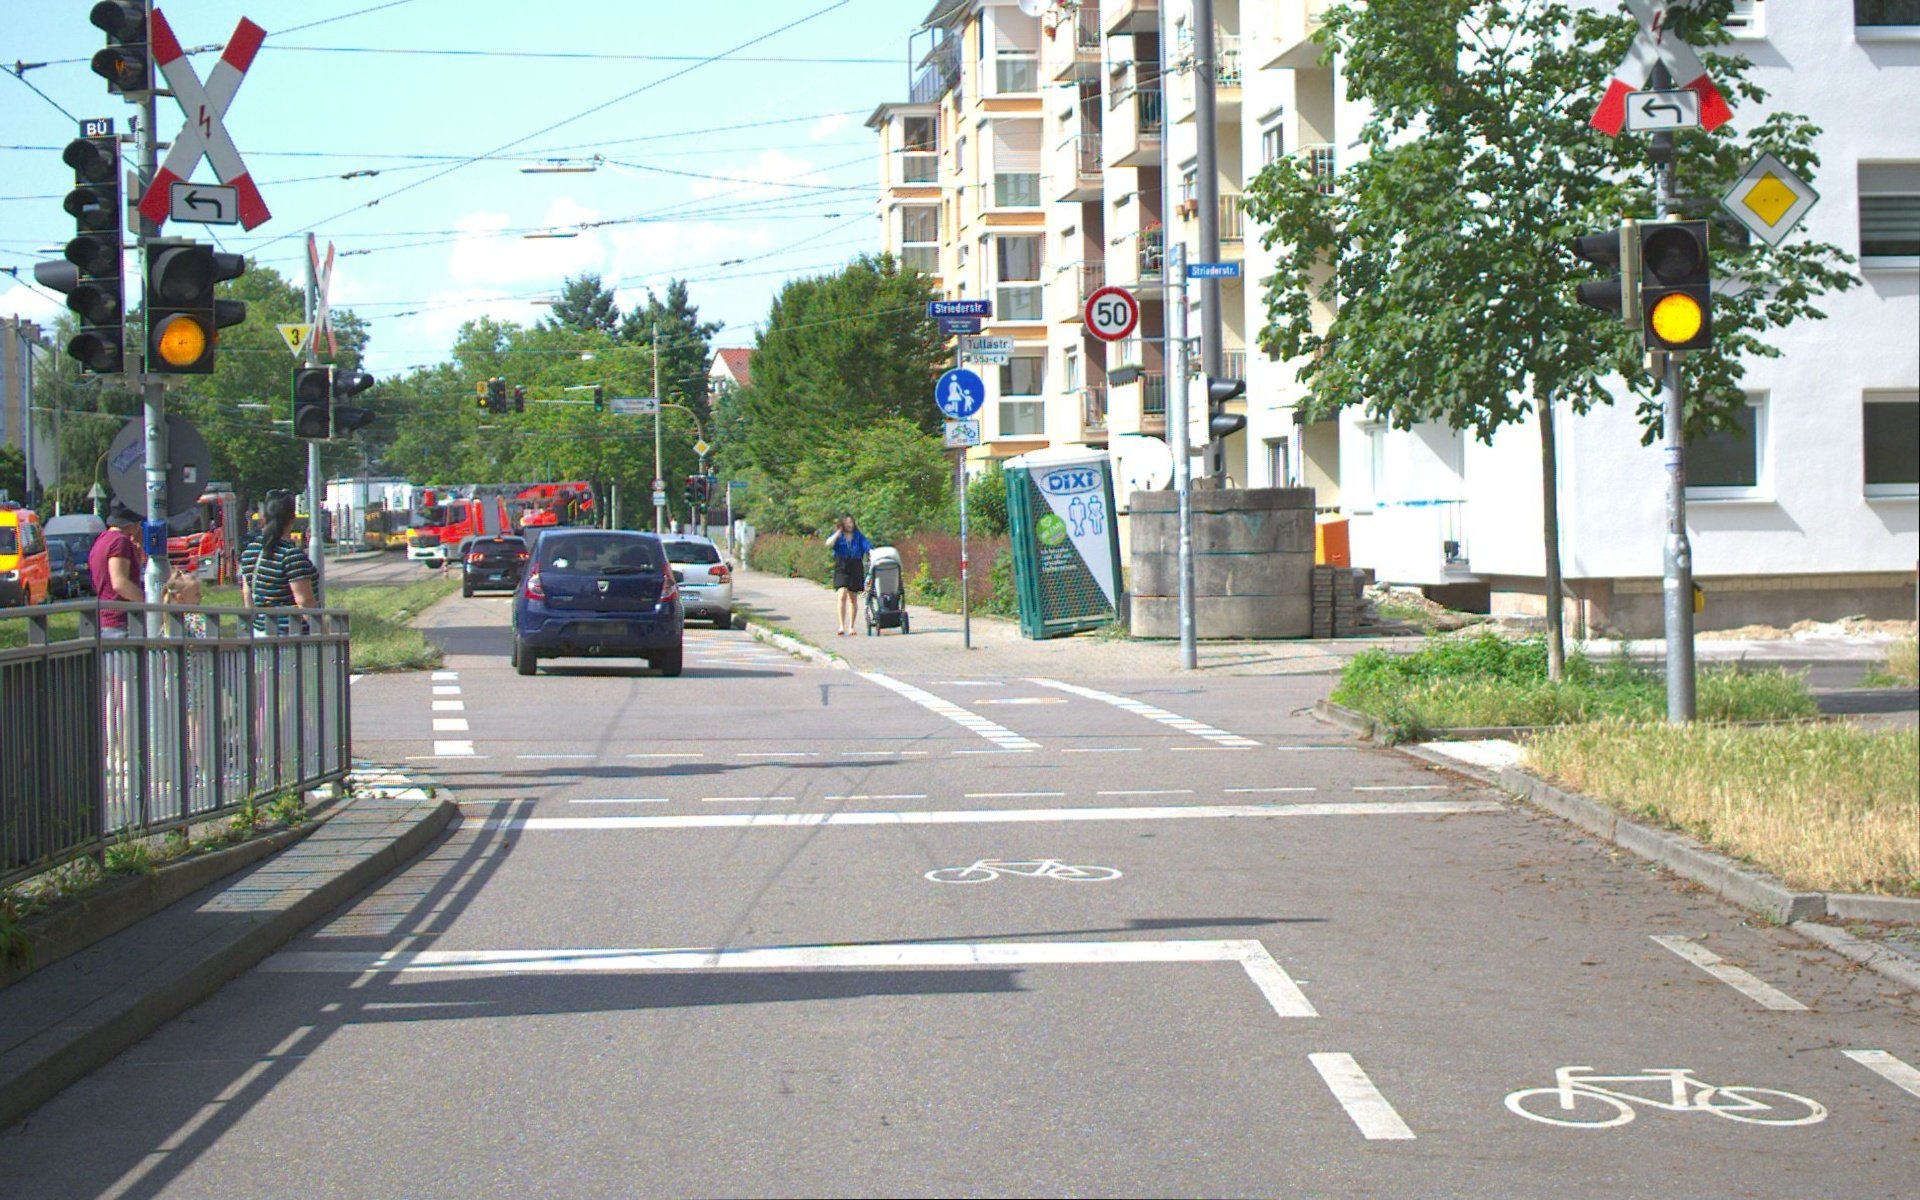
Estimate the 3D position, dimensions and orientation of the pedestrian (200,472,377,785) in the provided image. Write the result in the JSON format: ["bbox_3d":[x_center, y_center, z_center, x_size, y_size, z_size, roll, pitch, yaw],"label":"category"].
[{"bbox_3d":[-3.706,0.146,18.952,0.845,1.662,0.799,-2,1,-16],"label":"pedestrian"}]

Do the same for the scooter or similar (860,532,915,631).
[{"bbox_3d":[-1.000,-0.262,47.371,0.662,1.299,0.868,-4,2,-2],"label":"scooter or similar"}]

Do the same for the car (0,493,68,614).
[{"bbox_3d":[-18.733,-0.914,66.645,1.993,2.267,4.835,0,1,-5],"label":"car"}]

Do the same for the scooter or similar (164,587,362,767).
[{"bbox_3d":[-4.165,0.455,20.607,1.100,1.052,0.651,0,1,-6],"label":"scooter or similar"}]

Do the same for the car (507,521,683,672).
[{"bbox_3d":[-3.839,-0.057,36.468,1.743,1.502,4.001,1,1,-5],"label":"car"}]

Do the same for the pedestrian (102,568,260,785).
[{"bbox_3d":[-4.384,0.416,19.333,0.636,1.176,0.799,-2,1,-29],"label":"pedestrian"}]

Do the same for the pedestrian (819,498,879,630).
[{"bbox_3d":[-1.566,-0.514,48.275,0.701,1.783,1.030,-4,1,-3],"label":"pedestrian"}]

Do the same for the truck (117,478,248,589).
[{"bbox_3d":[-23.656,-2.019,104.991,2.596,3.175,8.384,-1,1,-4],"label":"truck"}]

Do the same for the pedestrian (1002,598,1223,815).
[{"bbox_3d":[1.482,1.014,34.788,1.993,2.007,4.000,1,1,-1],"label":"pedestrian"}]

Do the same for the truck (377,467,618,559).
[{"bbox_3d":[-18.154,-3.387,135.646,2.673,3.458,10.143,1,1,41],"label":"truck"}]

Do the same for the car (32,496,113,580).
[{"bbox_3d":[-26.153,-1.815,101.441,1.776,2.391,4.696,1,1,-8],"label":"car"}]

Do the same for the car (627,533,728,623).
[{"bbox_3d":[-4.769,-0.381,57.800,1.622,1.460,3.511,1,1,-5],"label":"car"}]

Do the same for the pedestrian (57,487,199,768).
[{"bbox_3d":[-4.969,0.159,20.557,0.705,1.642,0.637,1,0,-5],"label":"pedestrian"}]
